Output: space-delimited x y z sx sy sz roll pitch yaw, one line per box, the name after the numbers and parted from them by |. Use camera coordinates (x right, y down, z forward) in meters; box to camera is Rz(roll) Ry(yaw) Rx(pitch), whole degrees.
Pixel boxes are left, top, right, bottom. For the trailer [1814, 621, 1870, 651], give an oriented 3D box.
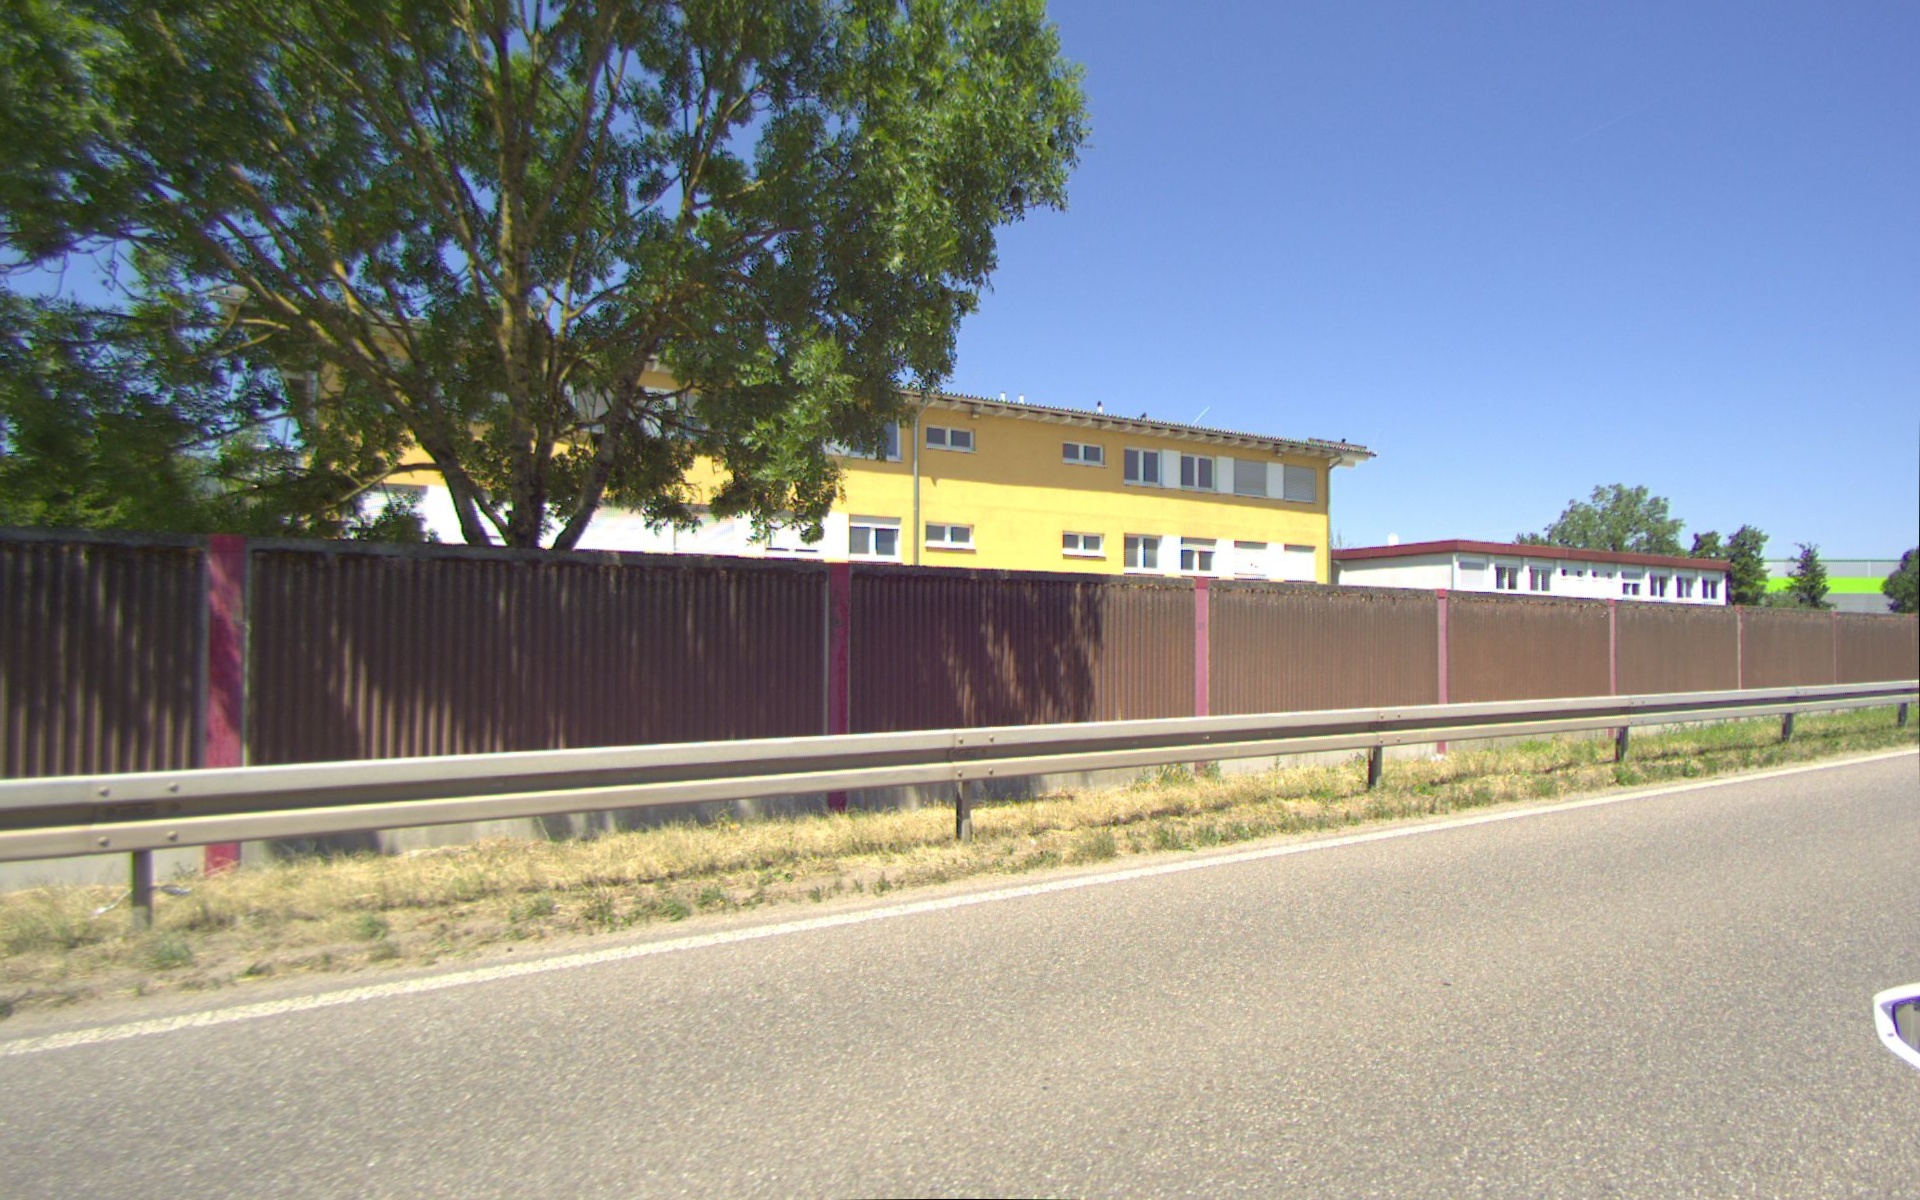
85.633 3.518 97.576 3.683 2.801 1.827 1 -1 16 | trailer
